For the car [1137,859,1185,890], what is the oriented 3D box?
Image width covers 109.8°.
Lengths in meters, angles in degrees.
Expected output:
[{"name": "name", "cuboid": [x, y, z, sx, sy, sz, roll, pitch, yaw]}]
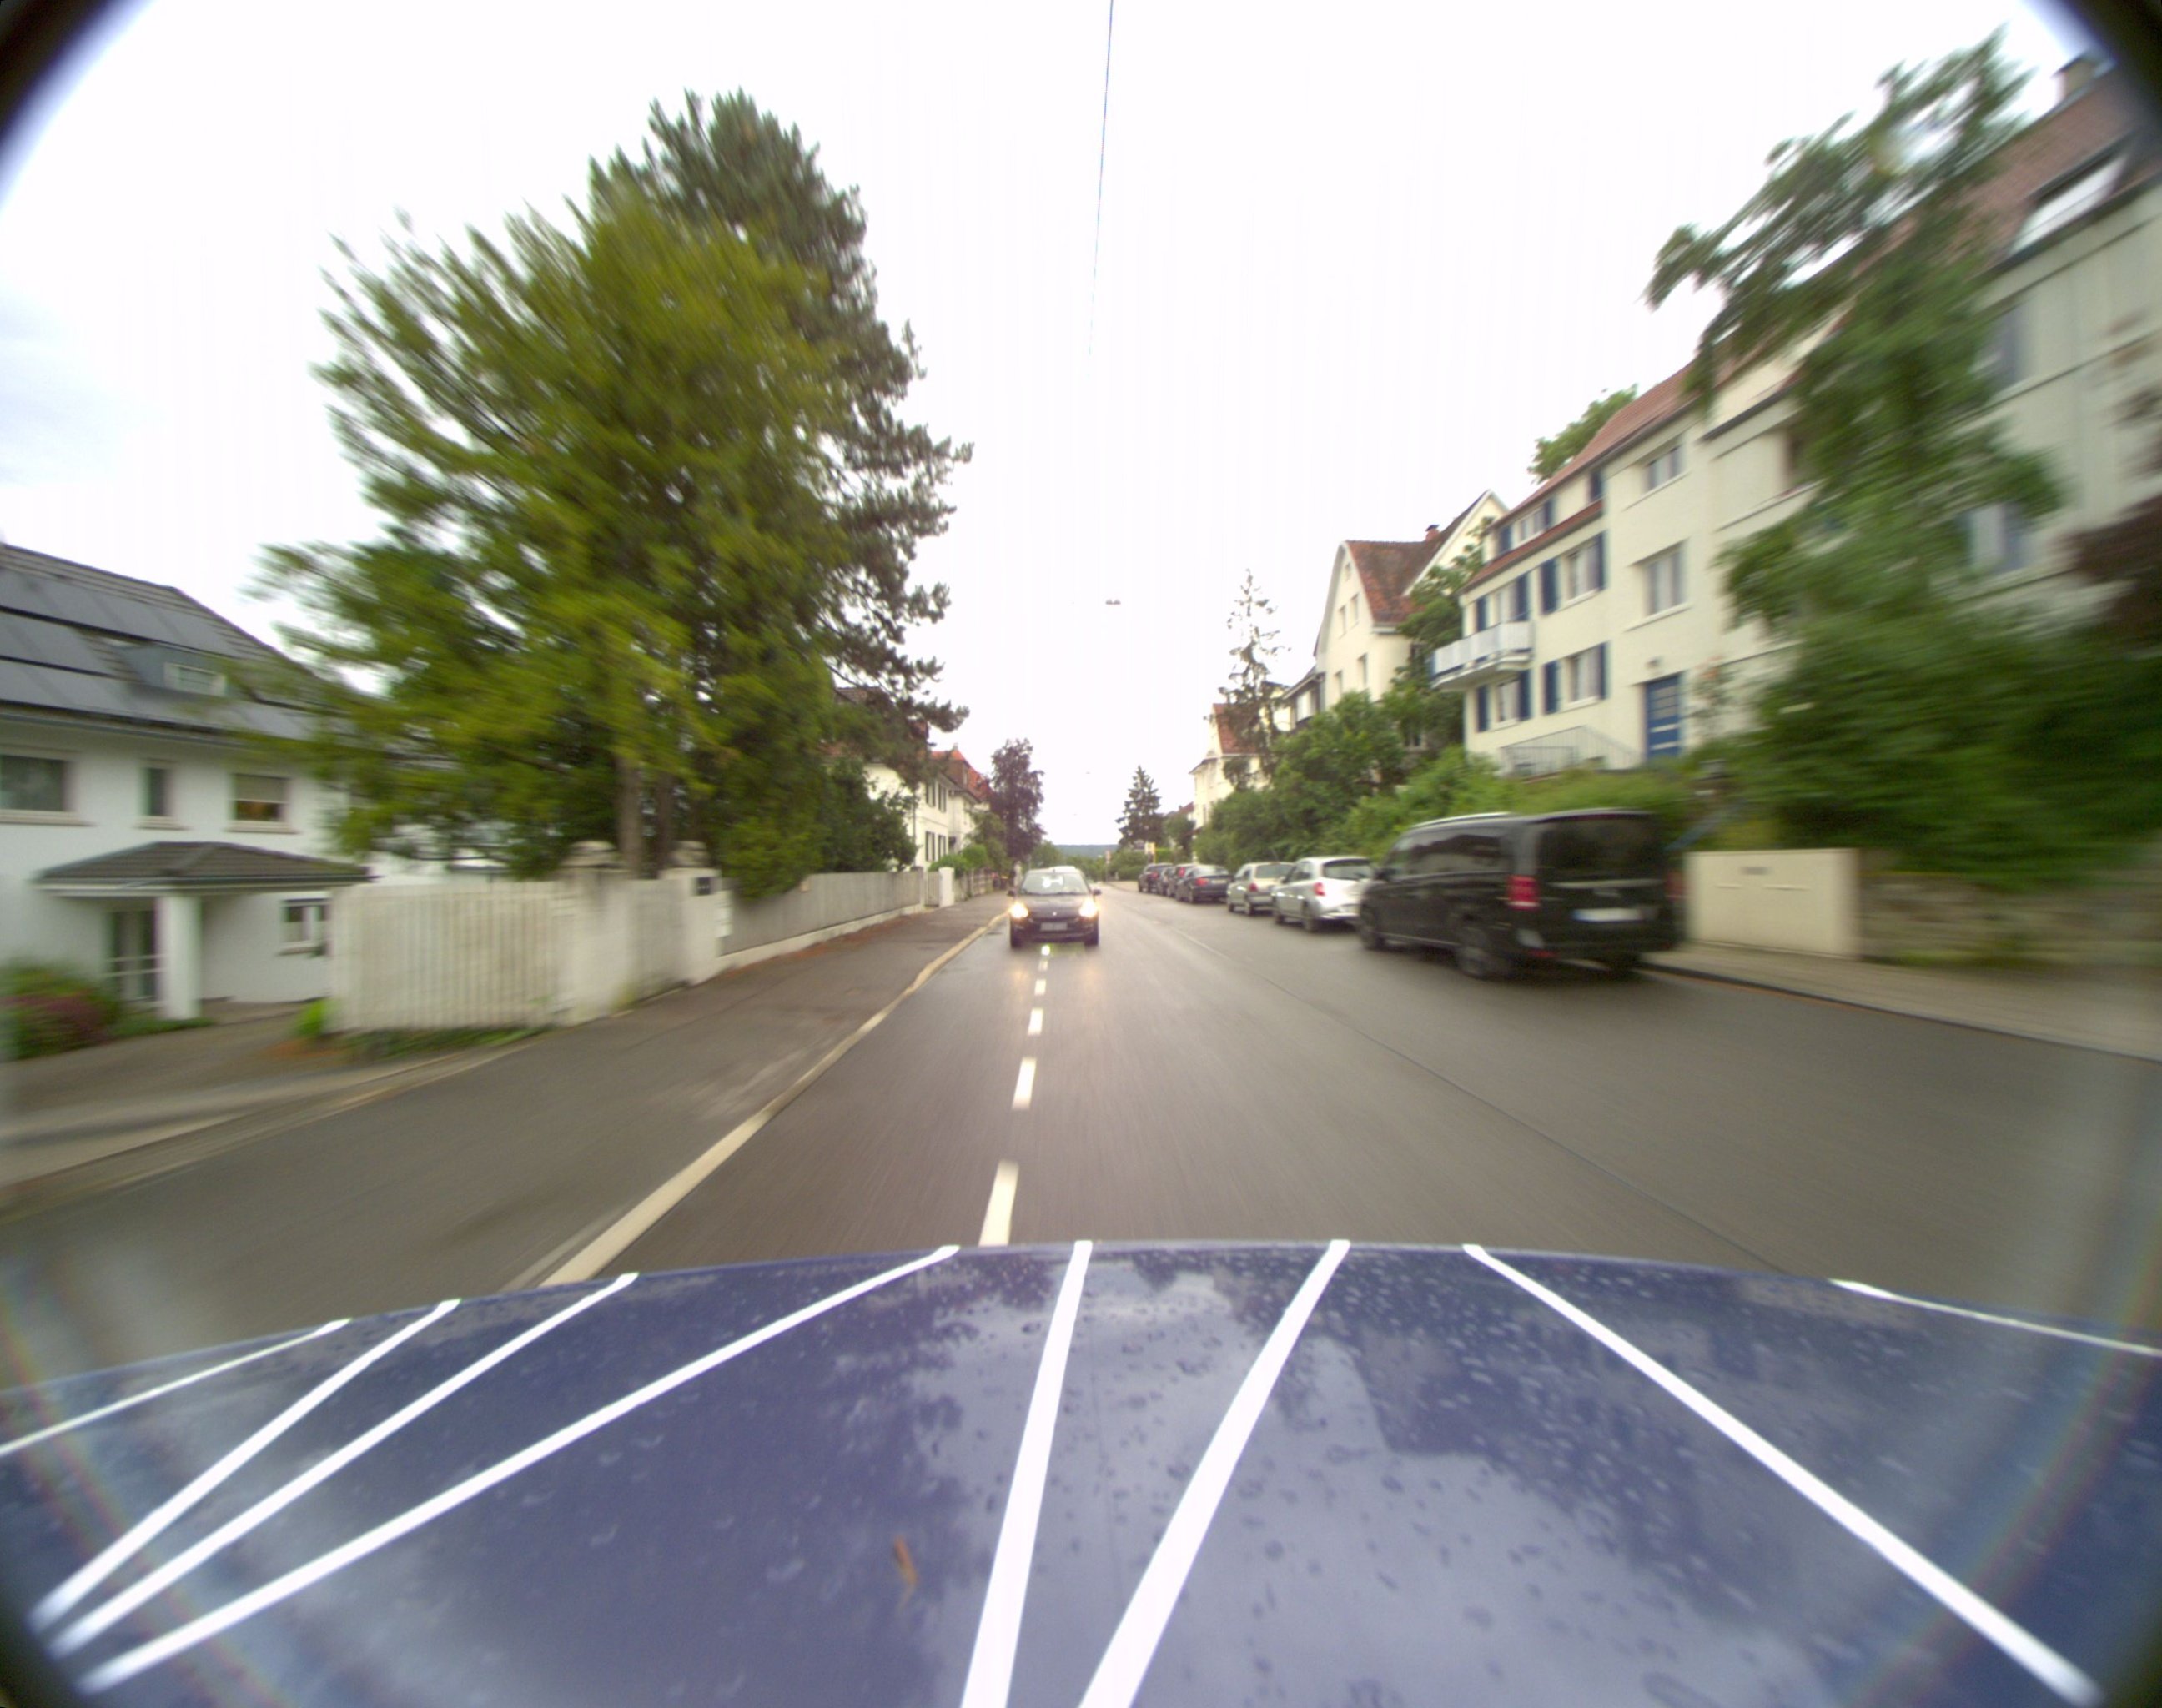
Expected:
[{"name": "car", "cuboid": [4.496, 1.153, 43.377, 1.899, 1.612, 4.377, -2, -1, -4]}]

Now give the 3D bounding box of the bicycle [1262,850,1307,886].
[{"name": "bicycle", "cuboid": [7.773, 0.558, 29.094, 1.006, 1.293, 2.291, -2, -2, -2]}]

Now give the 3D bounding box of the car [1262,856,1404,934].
[{"name": "car", "cuboid": [5.287, 0.796, 16.447, 1.699, 1.438, 3.813, -2, 0, -1]}]

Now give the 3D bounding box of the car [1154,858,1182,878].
[{"name": "car", "cuboid": [8.282, 1.360, 72.462, 1.771, 1.686, 4.000, -2, -2, -6]}]

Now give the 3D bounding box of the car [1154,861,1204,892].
[{"name": "car", "cuboid": [4.952, 1.153, 38.846, 1.898, 1.438, 3.815, -2, -2, -2]}]

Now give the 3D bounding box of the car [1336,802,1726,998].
[{"name": "car", "cuboid": [5.416, 0.493, 10.298, 1.999, 1.867, 5.356, -3, -1, 0]}]

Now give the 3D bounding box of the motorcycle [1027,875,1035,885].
[{"name": "motorcycle", "cuboid": [-6.112, 3.200, 93.344, 0.694, 1.218, 2.154, 4, -2, 3]}]

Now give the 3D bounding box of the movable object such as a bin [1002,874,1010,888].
[{"name": "movable object such as a bin", "cuboid": [-5.385, 1.919, 54.495, 0.495, 0.950, 0.503, -2, -2, -4]}]

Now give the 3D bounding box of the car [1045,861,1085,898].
[{"name": "car", "cuboid": [-0.770, 1.242, 38.217, 1.866, 1.704, 4.000, -2, -1, 0]}]

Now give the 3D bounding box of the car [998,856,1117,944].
[{"name": "car", "cuboid": [-0.331, 0.912, 15.490, 1.695, 1.481, 3.944, -4, -3, 8]}]

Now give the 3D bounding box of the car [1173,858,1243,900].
[{"name": "car", "cuboid": [4.843, 0.994, 29.556, 1.761, 1.438, 4.417, -2, -2, -2]}]

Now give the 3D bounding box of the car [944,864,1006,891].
[{"name": "car", "cuboid": [-7.174, 1.602, 51.715, 3.998, 1.629, 1.919, -2, -2, -2]}]

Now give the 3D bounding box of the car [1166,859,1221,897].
[{"name": "car", "cuboid": [5.003, 1.056, 34.201, 1.701, 1.532, 3.813, -2, -1, -2]}]

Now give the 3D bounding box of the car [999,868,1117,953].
[{"name": "car", "cuboid": [-0.332, 1.047, 15.517, 1.710, 1.414, 4.003, -2, -1, 8]}]

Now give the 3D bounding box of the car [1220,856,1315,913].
[{"name": "car", "cuboid": [5.245, 0.886, 21.850, 1.651, 1.438, 3.628, -2, -2, -2]}]
